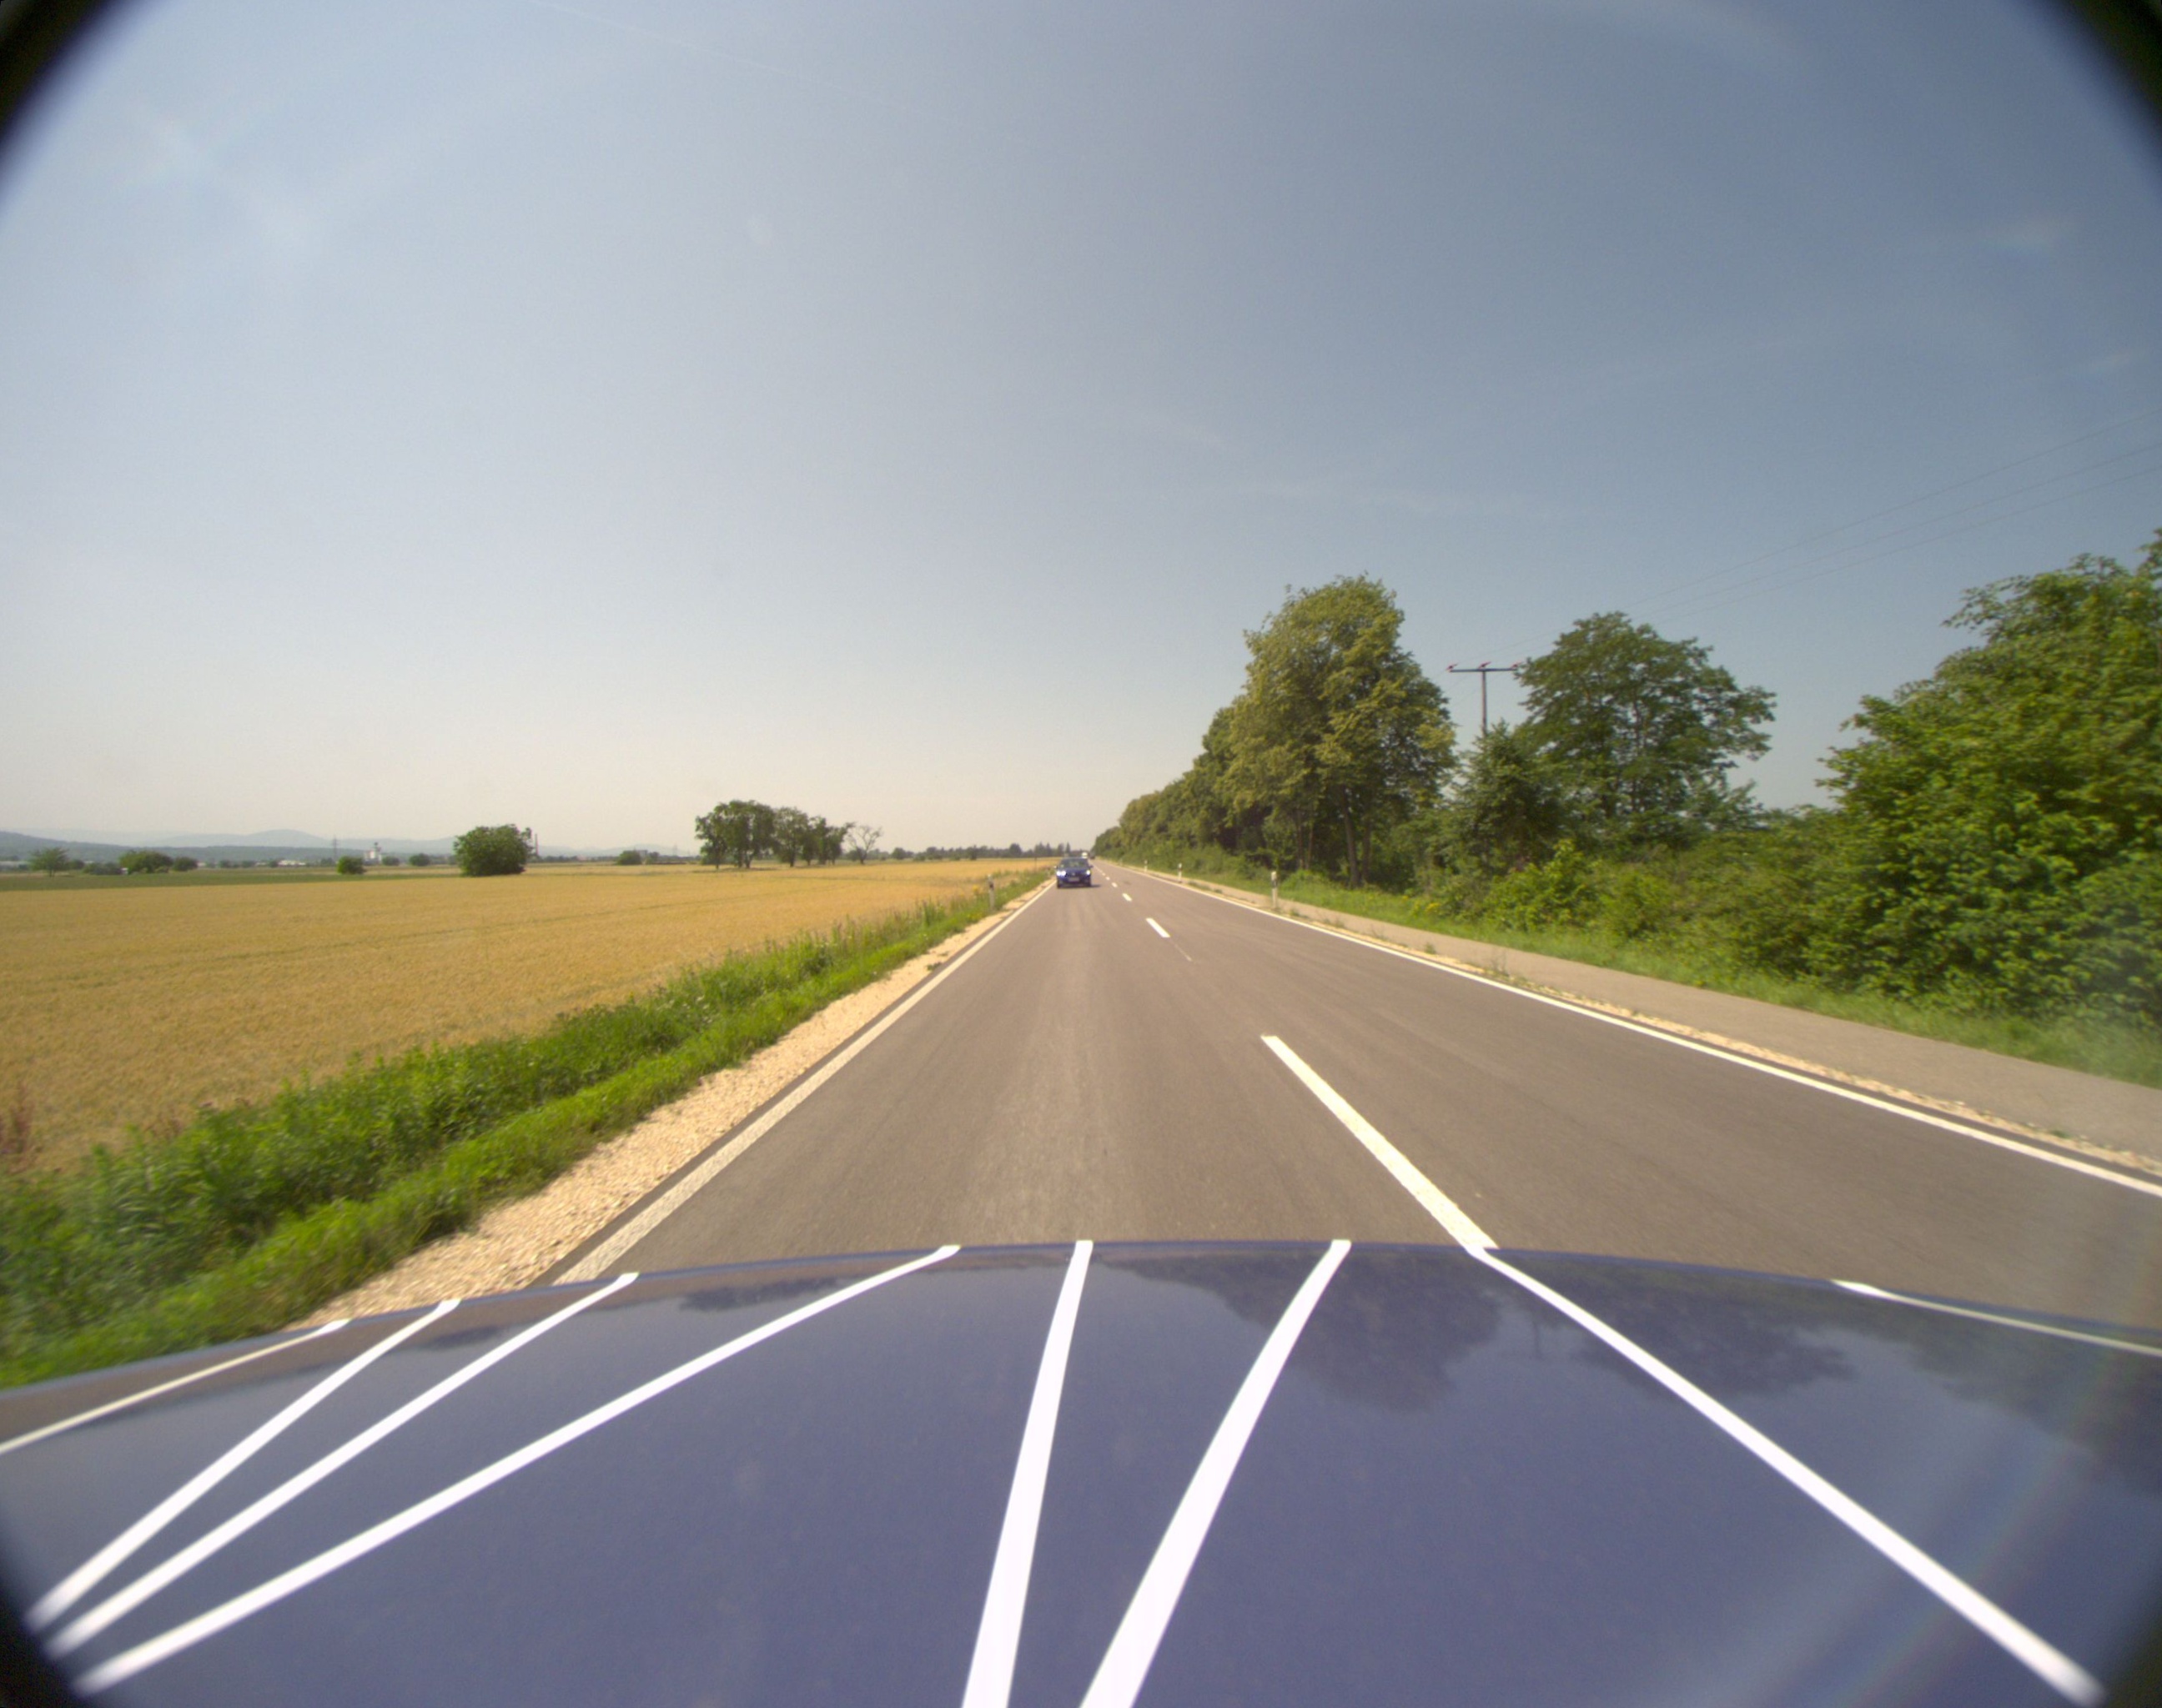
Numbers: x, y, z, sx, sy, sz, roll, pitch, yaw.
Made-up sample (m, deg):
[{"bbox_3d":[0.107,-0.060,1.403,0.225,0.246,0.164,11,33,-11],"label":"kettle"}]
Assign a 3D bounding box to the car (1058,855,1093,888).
[{"bbox_3d":[-0.272,0.846,39.235,1.662,1.508,3.999,-2,0,0],"label":"car"}]
